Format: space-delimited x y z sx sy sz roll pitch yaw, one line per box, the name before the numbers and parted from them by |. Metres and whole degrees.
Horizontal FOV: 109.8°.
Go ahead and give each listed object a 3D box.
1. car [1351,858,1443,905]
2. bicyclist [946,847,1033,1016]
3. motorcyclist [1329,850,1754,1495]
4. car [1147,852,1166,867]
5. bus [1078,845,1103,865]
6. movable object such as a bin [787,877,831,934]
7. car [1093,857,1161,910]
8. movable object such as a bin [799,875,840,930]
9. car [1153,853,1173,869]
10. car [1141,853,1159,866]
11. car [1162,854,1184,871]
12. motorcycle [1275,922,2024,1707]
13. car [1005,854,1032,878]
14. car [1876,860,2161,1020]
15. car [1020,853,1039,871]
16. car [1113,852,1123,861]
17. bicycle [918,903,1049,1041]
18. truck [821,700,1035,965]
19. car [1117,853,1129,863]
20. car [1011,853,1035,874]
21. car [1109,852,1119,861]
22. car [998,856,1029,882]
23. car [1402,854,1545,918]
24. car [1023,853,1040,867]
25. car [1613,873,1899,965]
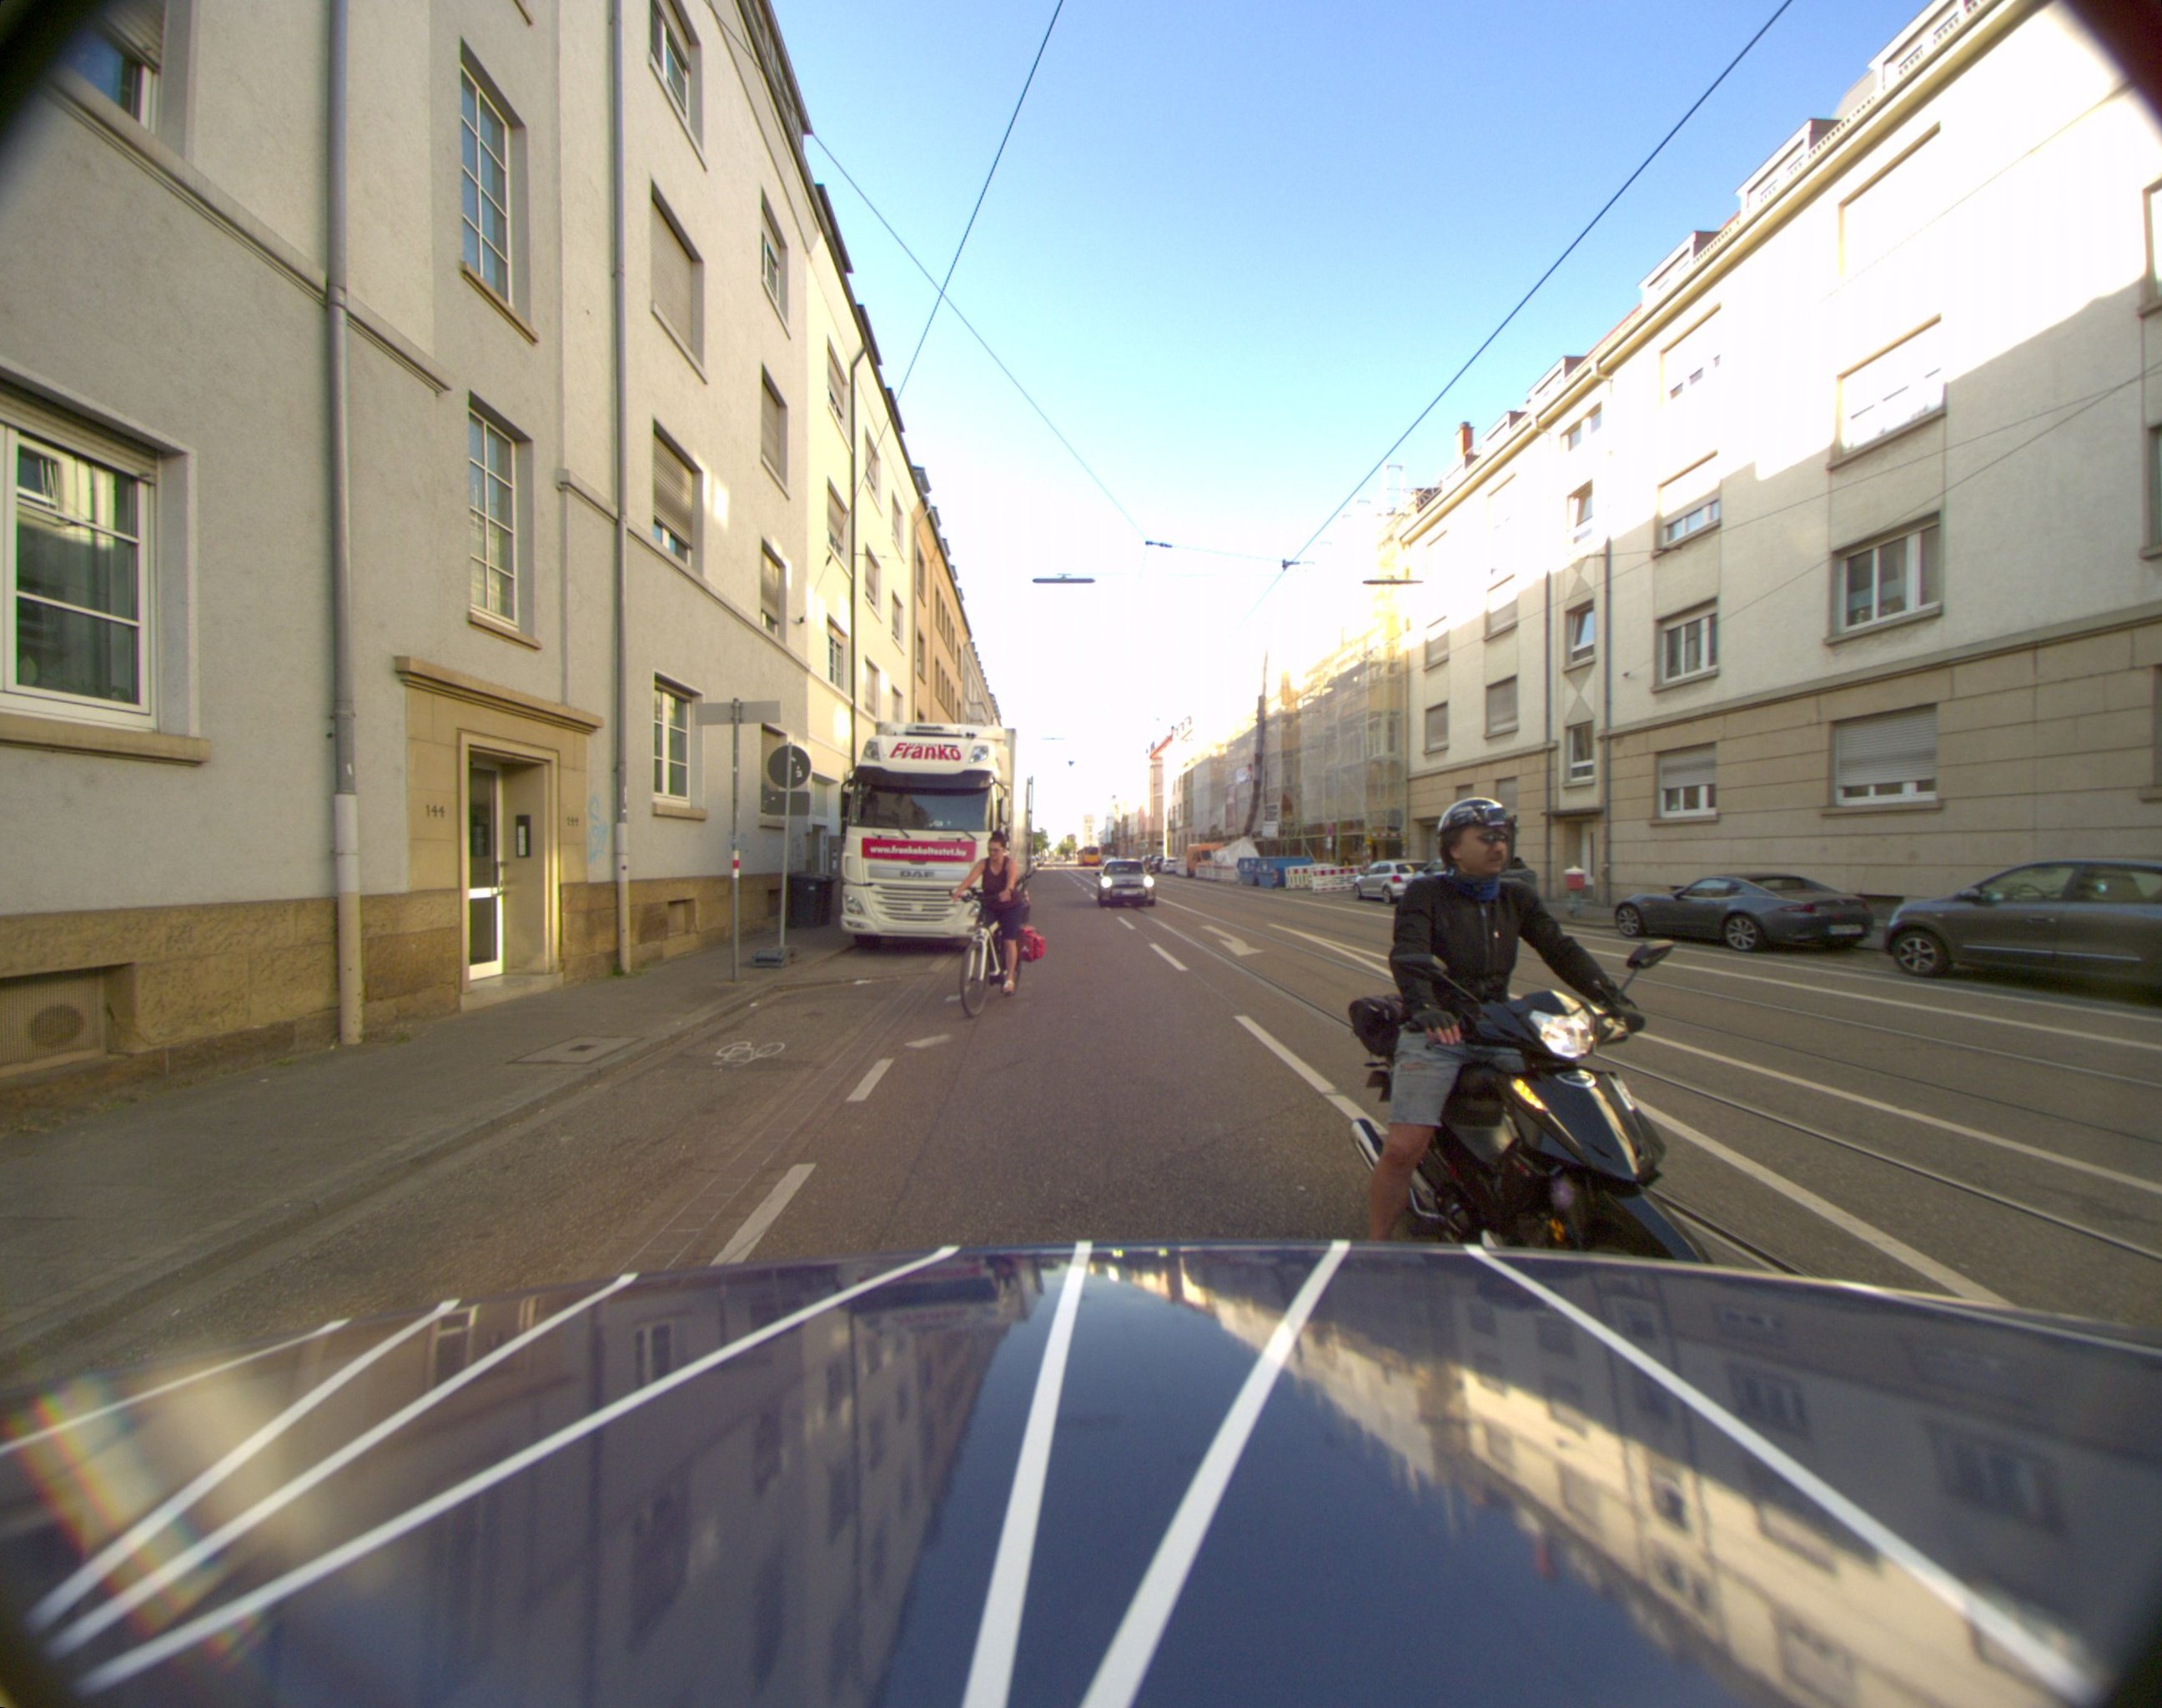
car | 10.614 0.877 25.769 1.543 1.404 3.510 -1 0 -3
bicyclist | -0.915 0.744 7.741 0.617 1.620 0.761 0 1 16
motorcyclist | 1.313 0.813 2.381 0.791 1.645 0.900 0 1 1
car | 8.250 0.609 83.173 1.684 1.573 3.966 -2 0 1
bus | 1.399 0.147 122.614 2.755 3.095 19.156 0 0 -3
movable object such as a bin | -5.378 1.002 15.030 0.666 1.087 0.570 0 1 -2
car | 1.369 0.872 24.181 1.685 1.454 4.148 -2 0 -3
movable object such as a bin | -5.395 0.994 15.699 0.666 1.087 0.570 0 1 -2
car | 8.271 0.698 76.800 1.684 1.478 3.966 -2 0 1
car | 7.938 0.645 87.870 1.684 1.478 3.966 -2 0 1
car | 8.576 0.753 71.103 1.684 1.478 3.966 -2 0 1
motorcycle | 1.314 0.970 2.510 0.791 1.284 2.273 0 0 1
car | -4.298 0.822 52.980 1.685 1.522 4.148 -2 0 -3
car | 11.421 0.857 8.309 1.679 1.519 3.539 -1 0 -3
car | -4.851 0.740 72.088 1.685 1.522 4.148 -2 0 -3
car | 6.536 0.454 134.391 1.684 1.478 3.966 -2 0 1
bicycle | -0.917 1.113 7.733 0.617 1.097 1.888 0 0 16
truck | -2.621 -0.326 17.170 2.782 3.903 11.816 0 0 -2
car | 6.603 0.613 118.625 1.684 1.478 3.966 -2 0 1
car | -4.506 0.739 59.148 1.685 1.522 4.148 -2 0 -3
car | 5.962 0.433 139.334 1.684 1.478 3.966 -2 0 1
car | -4.171 0.890 47.177 1.685 1.522 4.148 -2 0 -3
car | 10.816 0.801 21.321 1.696 1.590 4.206 -1 0 -3
car | -5.346 0.640 82.734 1.685 1.522 4.148 -2 0 -3
car | 11.185 0.997 12.971 1.520 1.227 3.685 -1 0 -3
